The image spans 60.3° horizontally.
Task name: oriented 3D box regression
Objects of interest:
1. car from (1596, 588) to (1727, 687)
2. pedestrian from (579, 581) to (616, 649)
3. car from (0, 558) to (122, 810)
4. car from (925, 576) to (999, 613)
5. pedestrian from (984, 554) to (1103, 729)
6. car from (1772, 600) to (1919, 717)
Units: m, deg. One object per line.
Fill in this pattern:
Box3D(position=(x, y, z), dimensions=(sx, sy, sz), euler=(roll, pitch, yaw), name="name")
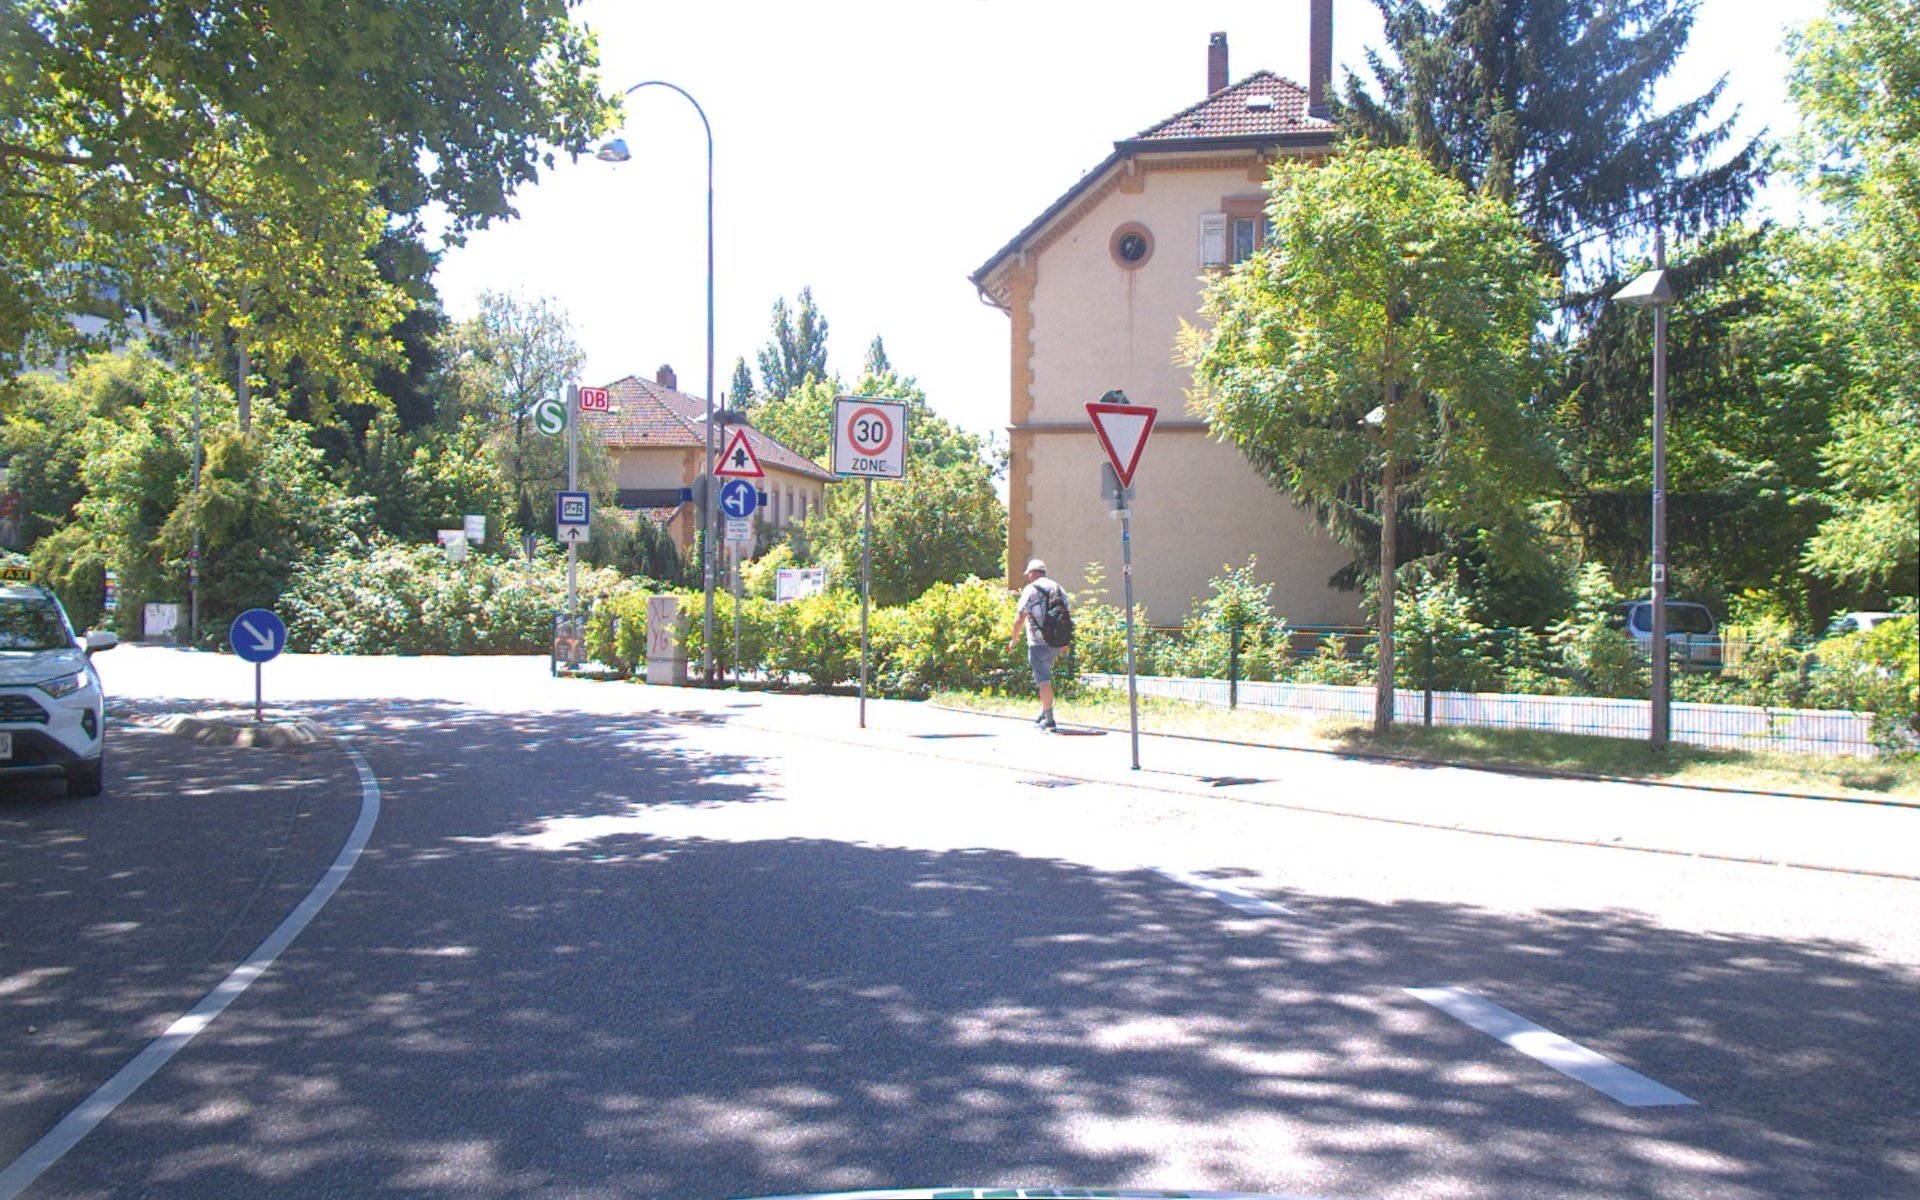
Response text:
Box3D(position=(12.072, 0.595, 28.646), dimensions=(1.615, 1.563, 3.972), euler=(1, 0, 16), name="car")
Box3D(position=(-9.102, 0.373, 41.544), dimensions=(0.612, 1.656, 0.689), euler=(0, 2, -45), name="pedestrian")
Box3D(position=(-8.034, 0.598, 13.527), dimensions=(2.019, 1.777, 4.284), euler=(-2, 1, -28), name="car")
Box3D(position=(0.132, -0.356, 107.519), dimensions=(4.349, 2.362, 2.204), euler=(0, 0, 15), name="car")
Box3D(position=(0.904, 0.427, 18.018), dimensions=(0.902, 1.802, 0.907), euler=(-3, 2, -28), name="pedestrian")
Box3D(position=(13.275, 0.777, 23.903), dimensions=(1.727, 1.526, 4.504), euler=(1, 0, 12), name="car")
